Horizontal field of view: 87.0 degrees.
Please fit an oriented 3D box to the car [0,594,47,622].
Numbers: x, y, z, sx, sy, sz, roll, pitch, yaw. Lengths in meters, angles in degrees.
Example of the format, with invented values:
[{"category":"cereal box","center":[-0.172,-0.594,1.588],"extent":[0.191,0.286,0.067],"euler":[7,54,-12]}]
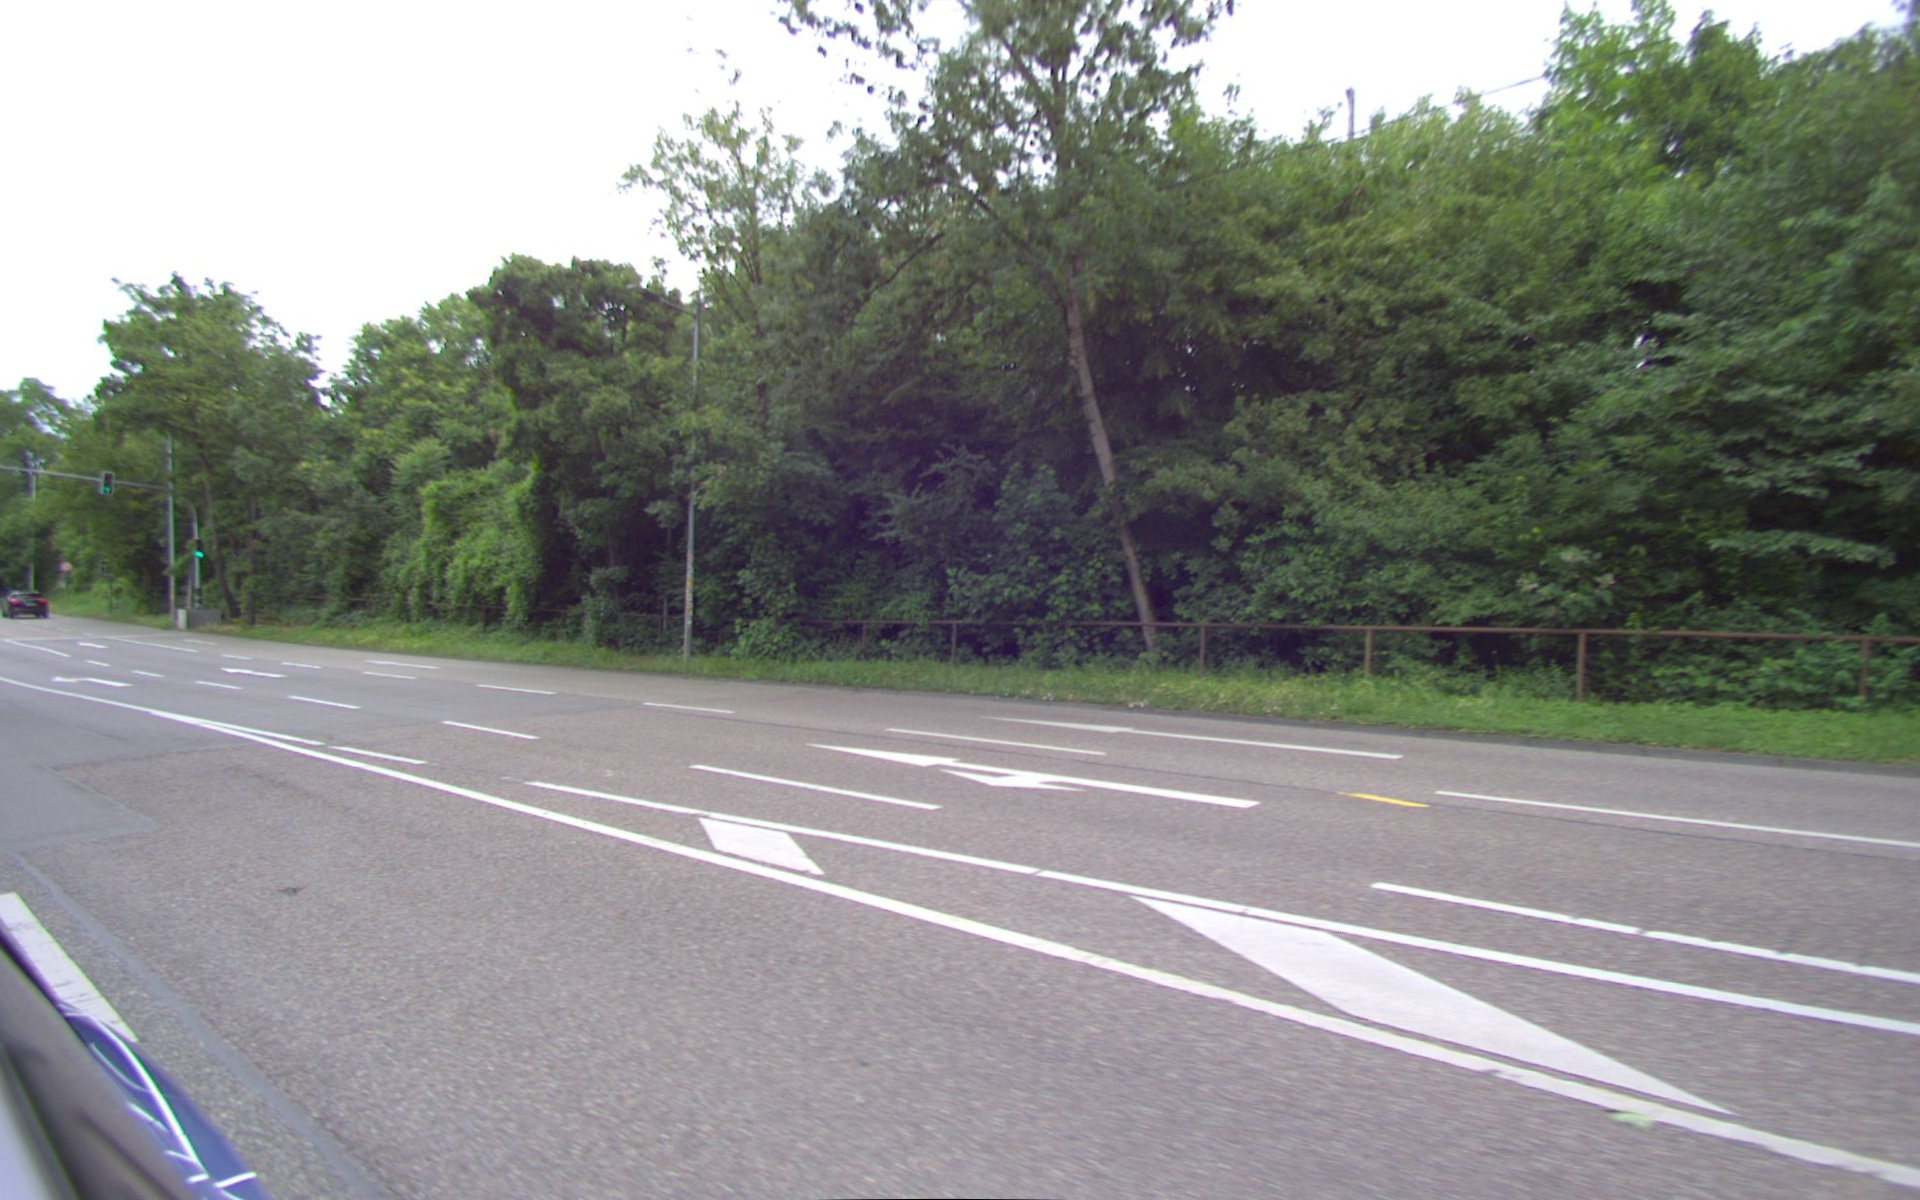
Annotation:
[{"category":"car","center":[-57.715,0.471,62.343],"extent":[4.221,1.666,1.802],"euler":[0,1,42]}]
